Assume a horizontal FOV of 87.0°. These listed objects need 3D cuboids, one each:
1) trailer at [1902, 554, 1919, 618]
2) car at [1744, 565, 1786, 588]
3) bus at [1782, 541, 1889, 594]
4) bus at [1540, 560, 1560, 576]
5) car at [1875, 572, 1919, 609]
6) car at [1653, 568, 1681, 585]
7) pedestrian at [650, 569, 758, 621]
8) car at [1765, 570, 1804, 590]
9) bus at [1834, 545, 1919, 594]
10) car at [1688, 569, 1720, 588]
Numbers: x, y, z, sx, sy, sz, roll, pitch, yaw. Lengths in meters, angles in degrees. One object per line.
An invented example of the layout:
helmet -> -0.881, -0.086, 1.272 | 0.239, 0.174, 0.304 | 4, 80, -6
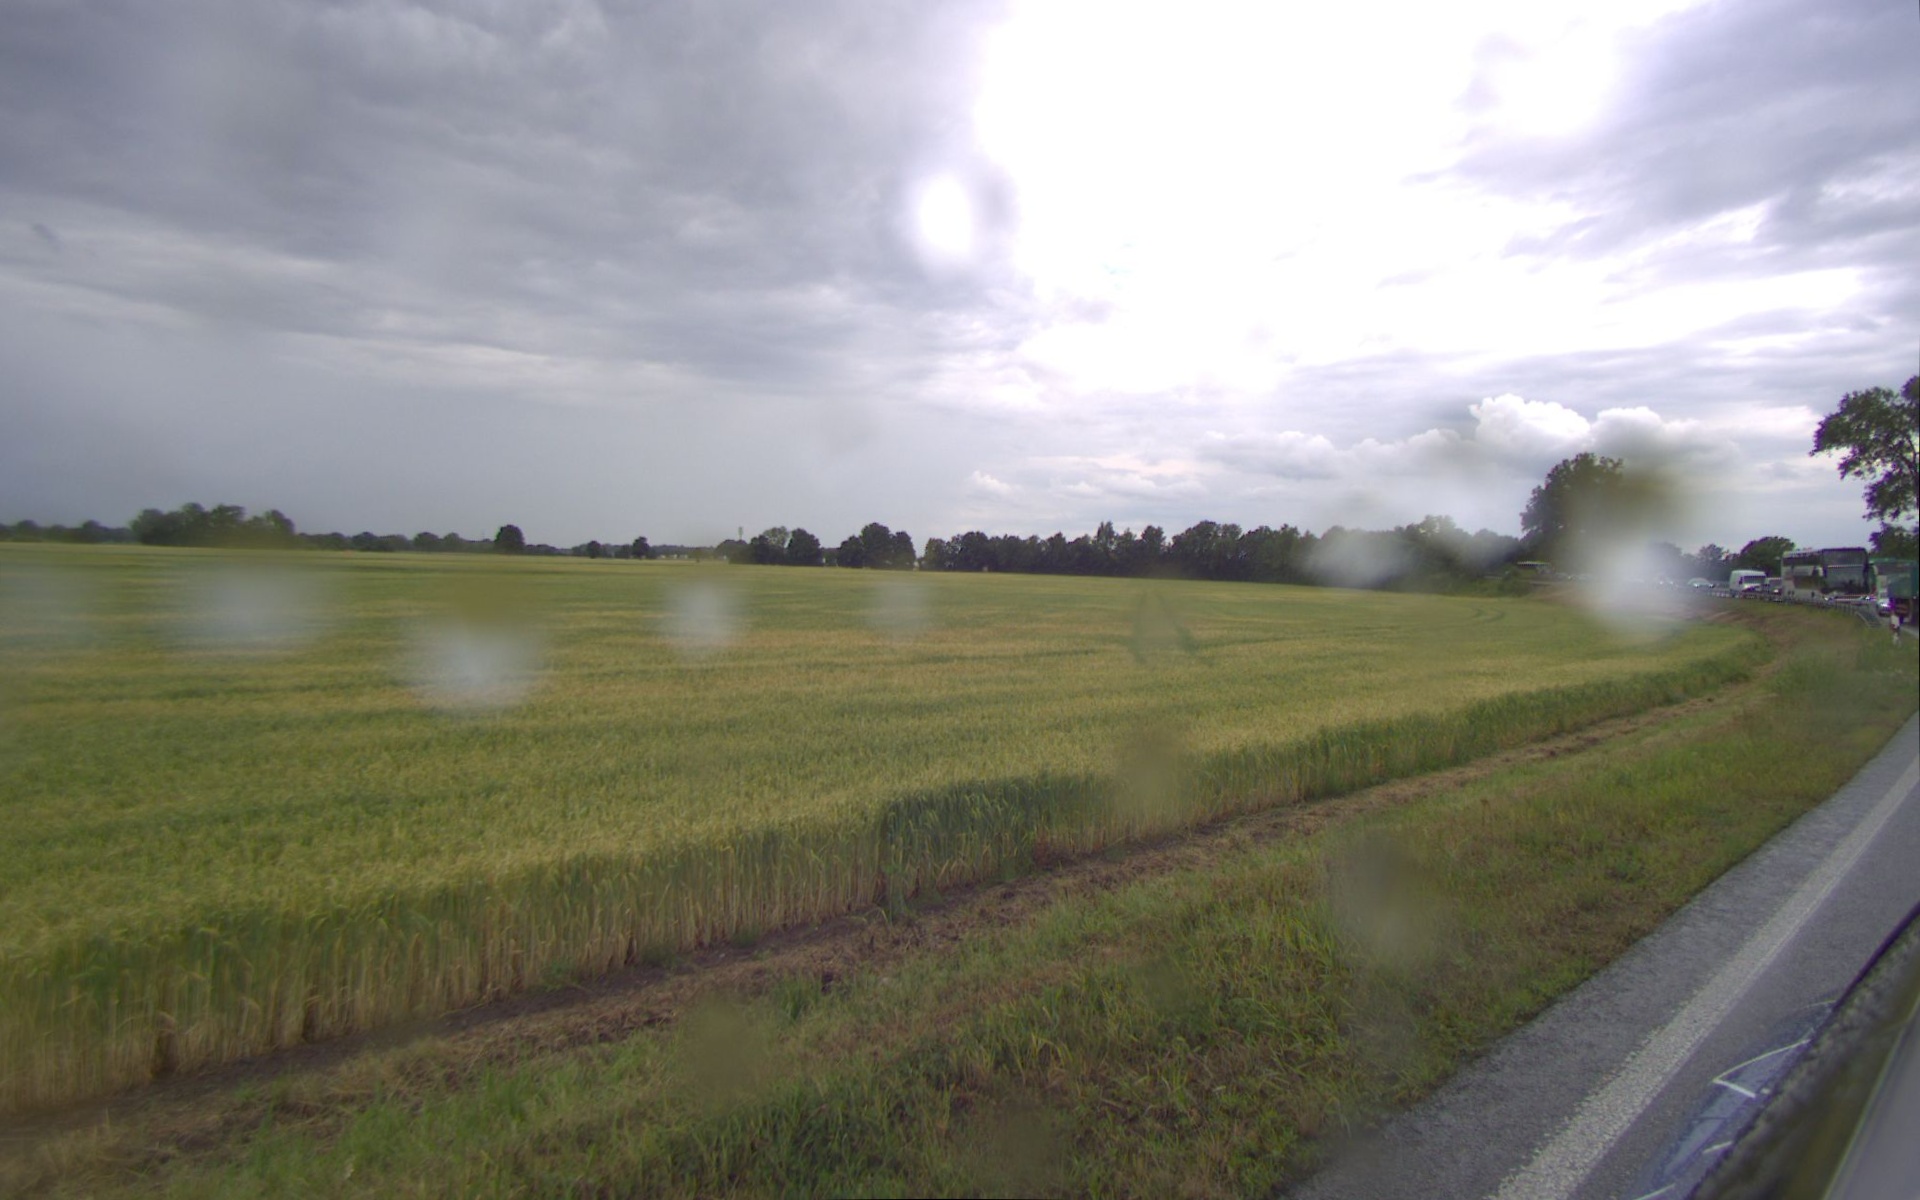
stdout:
trailer -> 40.621, -0.565, 40.595 | 2.970, 2.666, 15.465 | -1, 1, 39
car -> 74.151, -2.166, 93.341 | 1.981, 2.039, 5.286 | -1, 1, 27
bus -> 61.642, -2.390, 71.673 | 2.941, 3.353, 14.684 | -1, 2, 30
bus -> 110.722, -6.010, 189.887 | 1.975, 2.951, 6.965 | -1, 1, 20
car -> 50.523, -0.539, 53.775 | 2.029, 1.865, 5.273 | -1, 1, 34
car -> 89.367, -2.986, 127.974 | 1.976, 2.039, 4.203 | -1, 1, 21
pedestrian -> -10.536, -0.241, 41.825 | 1.987, 2.039, 3.950 | -1, 1, 35
car -> 68.903, -1.706, 84.618 | 1.798, 1.597, 3.961 | -1, 1, 28
bus -> 68.133, -2.143, 74.882 | 2.743, 3.339, 12.373 | -1, 0, 29
car -> 83.085, -2.412, 113.032 | 1.978, 2.039, 4.198 | -1, 1, 24
